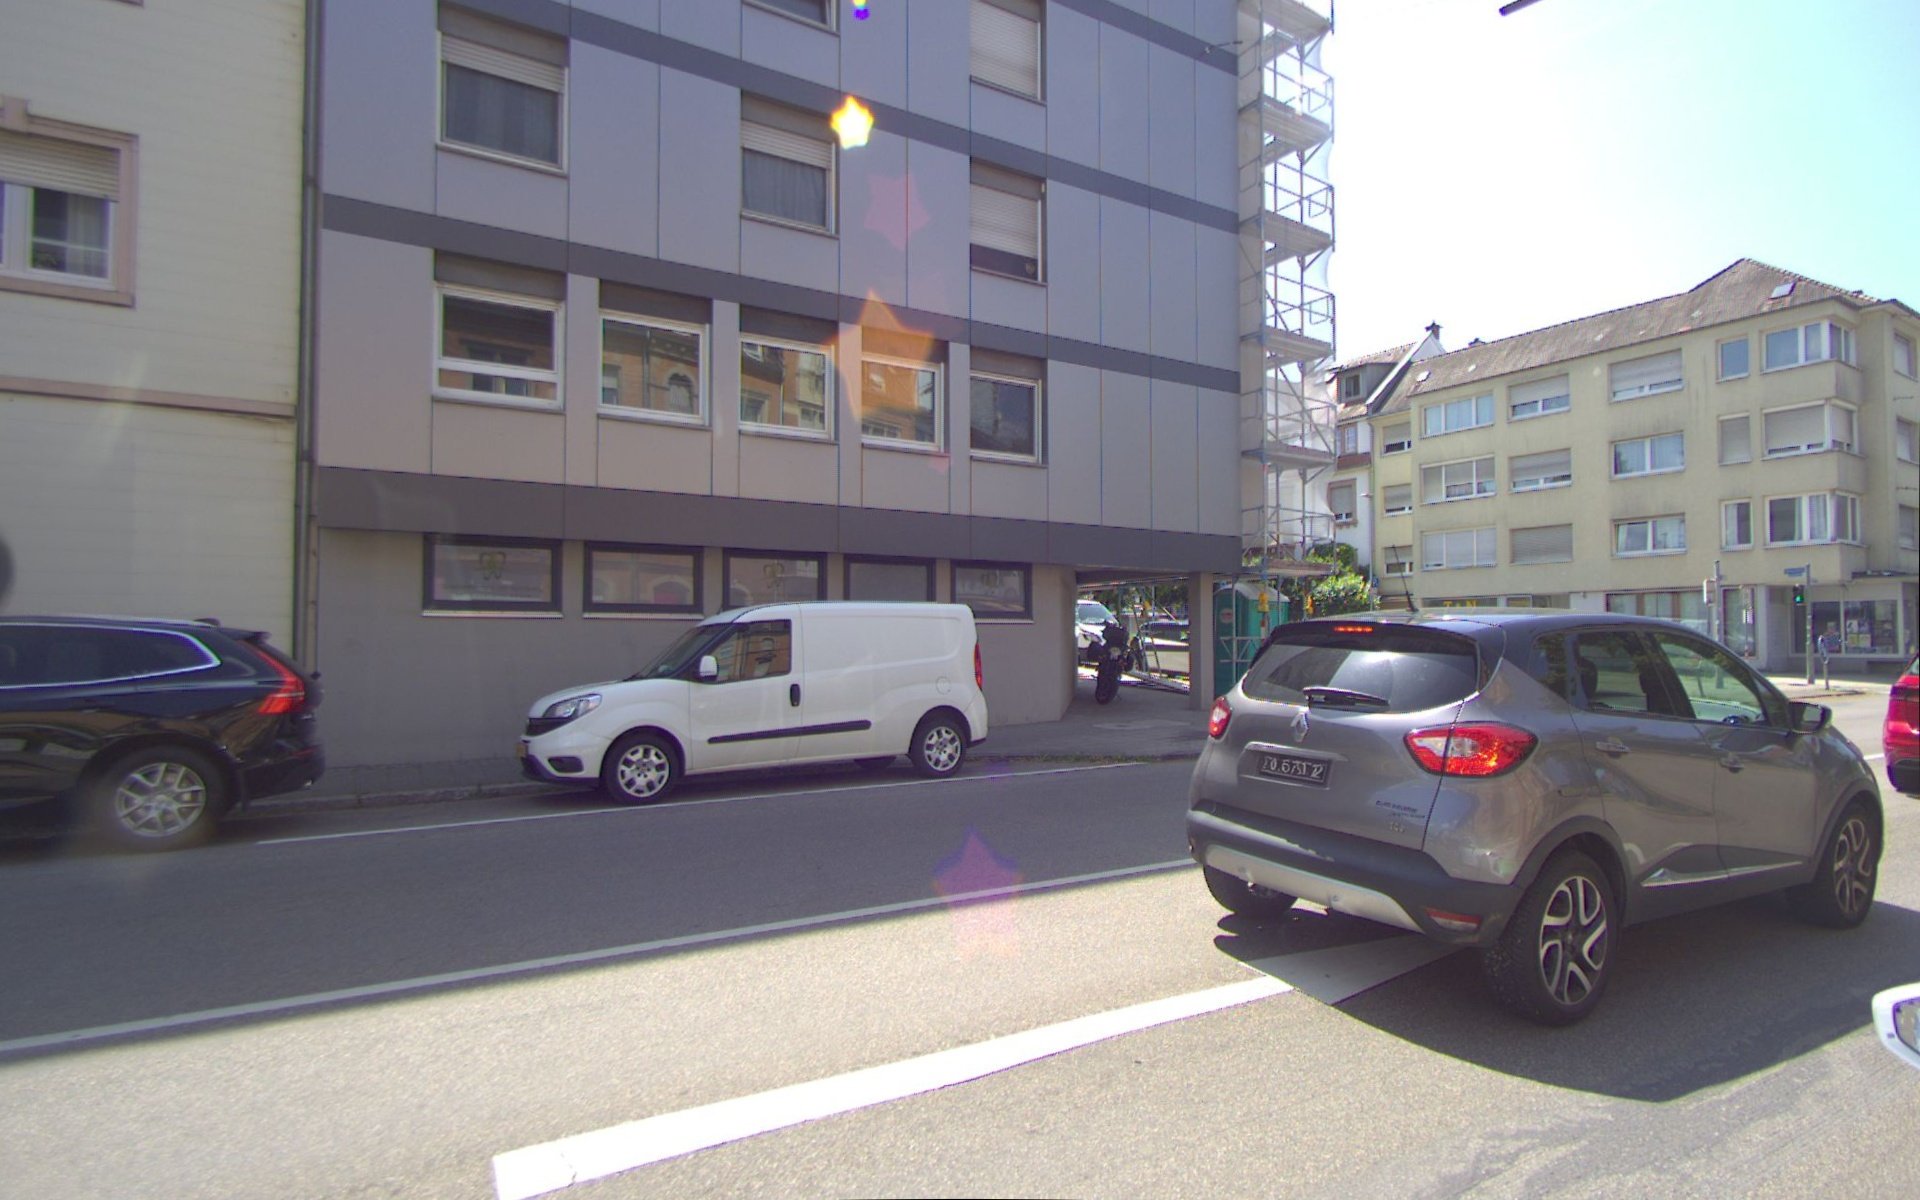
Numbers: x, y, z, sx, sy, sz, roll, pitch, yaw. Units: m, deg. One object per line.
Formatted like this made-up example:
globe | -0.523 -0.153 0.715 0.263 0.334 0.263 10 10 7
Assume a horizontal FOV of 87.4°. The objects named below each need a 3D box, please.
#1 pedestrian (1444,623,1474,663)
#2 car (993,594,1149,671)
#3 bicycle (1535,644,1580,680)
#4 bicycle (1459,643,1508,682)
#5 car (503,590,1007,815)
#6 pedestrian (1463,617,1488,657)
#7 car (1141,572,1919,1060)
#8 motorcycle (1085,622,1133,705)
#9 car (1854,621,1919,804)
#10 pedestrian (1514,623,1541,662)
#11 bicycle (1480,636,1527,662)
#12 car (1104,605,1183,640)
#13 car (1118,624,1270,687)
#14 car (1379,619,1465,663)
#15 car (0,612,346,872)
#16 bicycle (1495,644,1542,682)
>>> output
pedestrian | 20.818 1.788 41.938 0.813 1.654 0.798 1 -2 -30
car | 3.292 0.931 30.941 1.980 2.041 4.962 1 1 -35
bicycle | 16.909 1.753 28.422 1.766 0.980 0.394 1 -2 -35
bicycle | 13.657 1.626 26.176 1.701 0.980 0.394 1 -2 -35
car | -2.003 0.953 10.356 4.735 1.849 1.904 2 -4 -32
pedestrian | 21.658 1.549 42.239 0.641 1.654 0.683 1 -2 -30
car | 3.022 0.778 5.163 3.952 1.653 1.746 1 -1 -30
motorcycle | 2.823 1.172 19.120 0.864 1.491 2.044 0 -1 8
car | 10.224 1.000 9.296 3.990 1.578 1.790 1 -2 -31
pedestrian | 22.345 1.677 39.576 0.641 1.495 0.683 1 -2 -30
bicycle | 22.750 2.043 42.047 0.493 1.040 1.728 1 -2 -31
car | 9.487 1.168 52.165 1.790 1.571 3.963 1 2 -33
car | 6.029 1.380 26.184 1.739 1.466 3.705 1 -1 -33
car | 18.407 1.625 40.235 1.959 1.686 4.333 0 -2 8
car | -7.026 0.954 7.038 4.611 1.662 1.875 2 -4 -32
bicycle | 15.162 1.693 27.267 1.729 0.980 0.394 1 -2 -35
